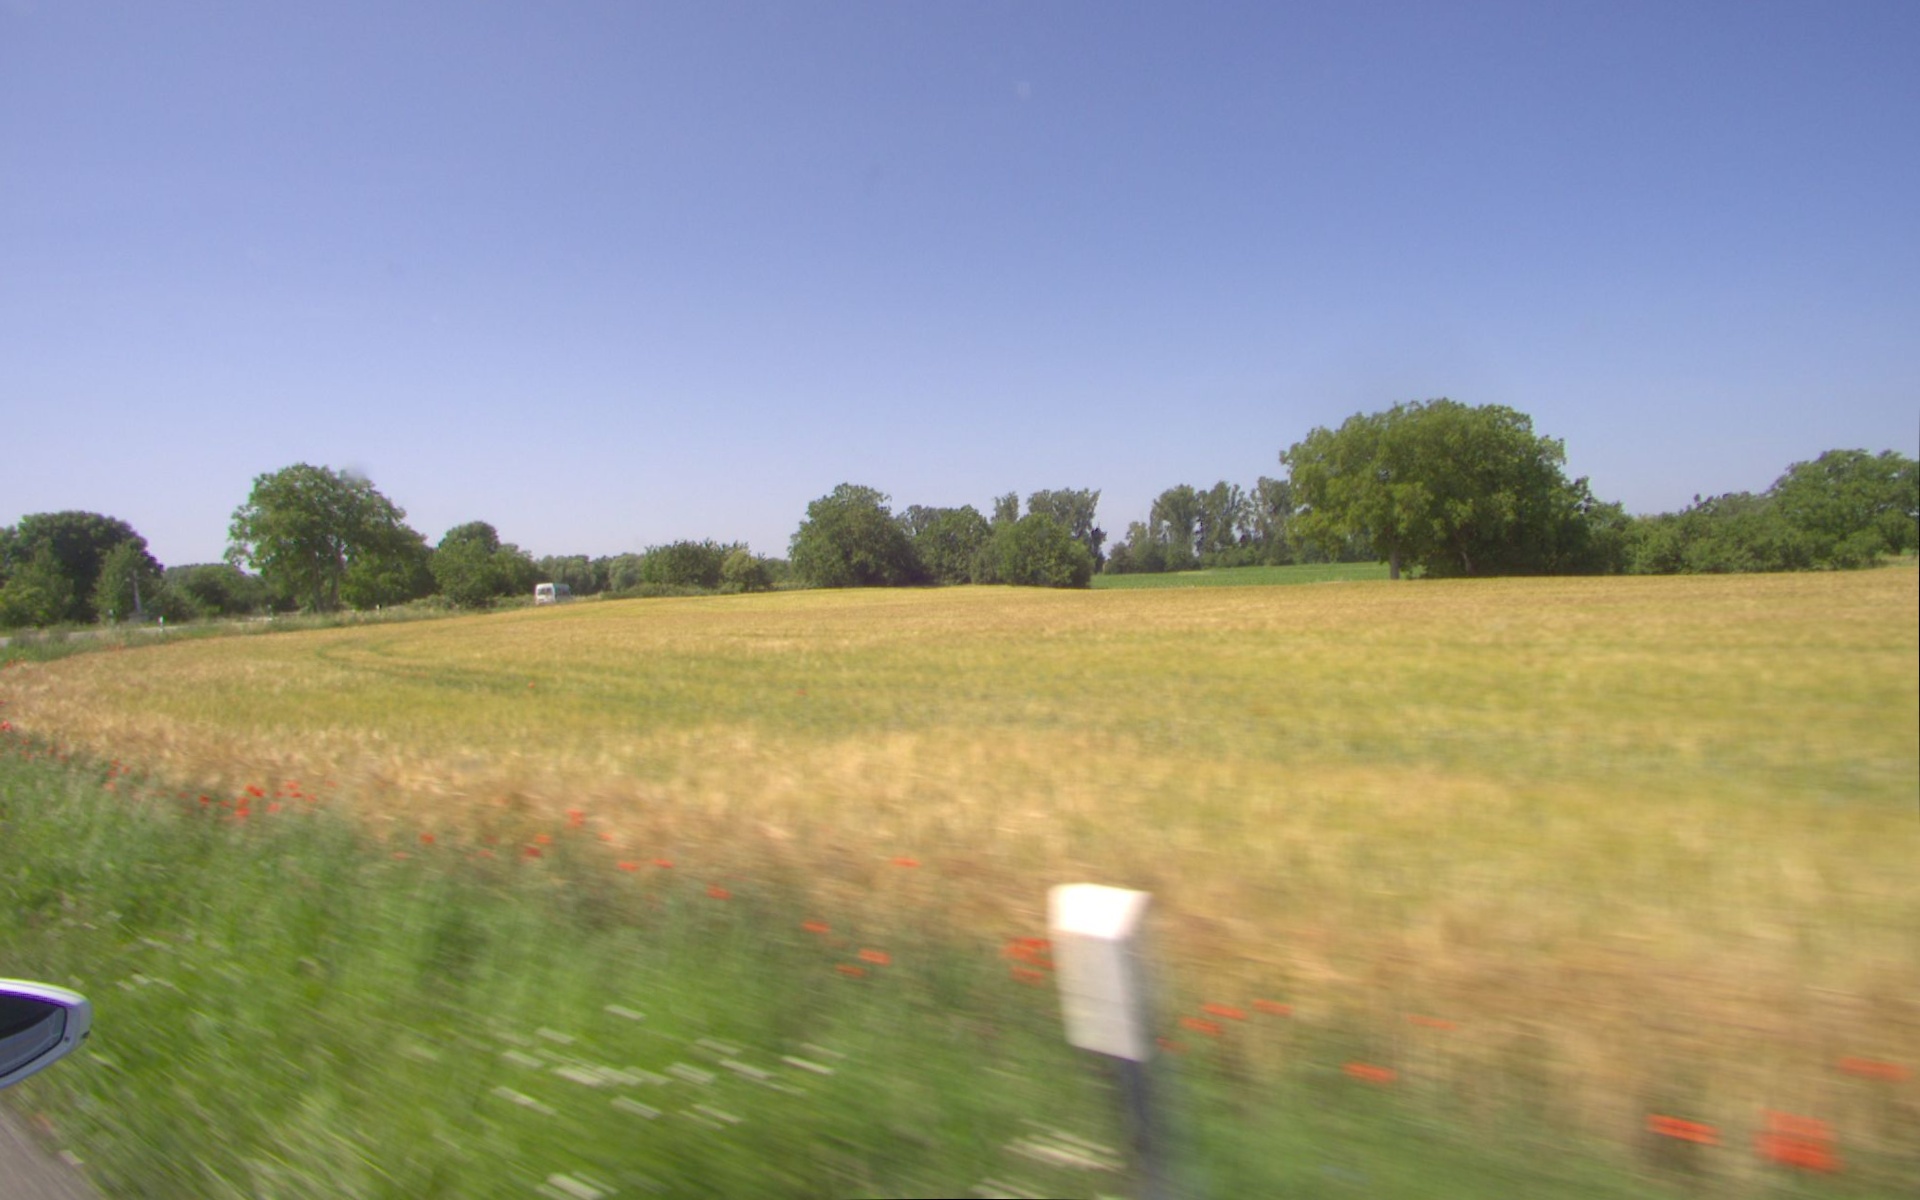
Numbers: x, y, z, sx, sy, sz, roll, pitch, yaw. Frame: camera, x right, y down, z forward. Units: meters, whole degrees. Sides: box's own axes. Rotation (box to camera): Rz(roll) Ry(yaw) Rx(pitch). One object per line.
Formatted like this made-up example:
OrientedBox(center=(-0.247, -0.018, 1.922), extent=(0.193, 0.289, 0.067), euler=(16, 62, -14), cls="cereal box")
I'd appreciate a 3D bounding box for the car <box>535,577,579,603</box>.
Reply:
OrientedBox(center=(-41.233, -1.062, 102.649), extent=(2.070, 2.399, 5.683), euler=(-2, 2, 1), cls="car")
